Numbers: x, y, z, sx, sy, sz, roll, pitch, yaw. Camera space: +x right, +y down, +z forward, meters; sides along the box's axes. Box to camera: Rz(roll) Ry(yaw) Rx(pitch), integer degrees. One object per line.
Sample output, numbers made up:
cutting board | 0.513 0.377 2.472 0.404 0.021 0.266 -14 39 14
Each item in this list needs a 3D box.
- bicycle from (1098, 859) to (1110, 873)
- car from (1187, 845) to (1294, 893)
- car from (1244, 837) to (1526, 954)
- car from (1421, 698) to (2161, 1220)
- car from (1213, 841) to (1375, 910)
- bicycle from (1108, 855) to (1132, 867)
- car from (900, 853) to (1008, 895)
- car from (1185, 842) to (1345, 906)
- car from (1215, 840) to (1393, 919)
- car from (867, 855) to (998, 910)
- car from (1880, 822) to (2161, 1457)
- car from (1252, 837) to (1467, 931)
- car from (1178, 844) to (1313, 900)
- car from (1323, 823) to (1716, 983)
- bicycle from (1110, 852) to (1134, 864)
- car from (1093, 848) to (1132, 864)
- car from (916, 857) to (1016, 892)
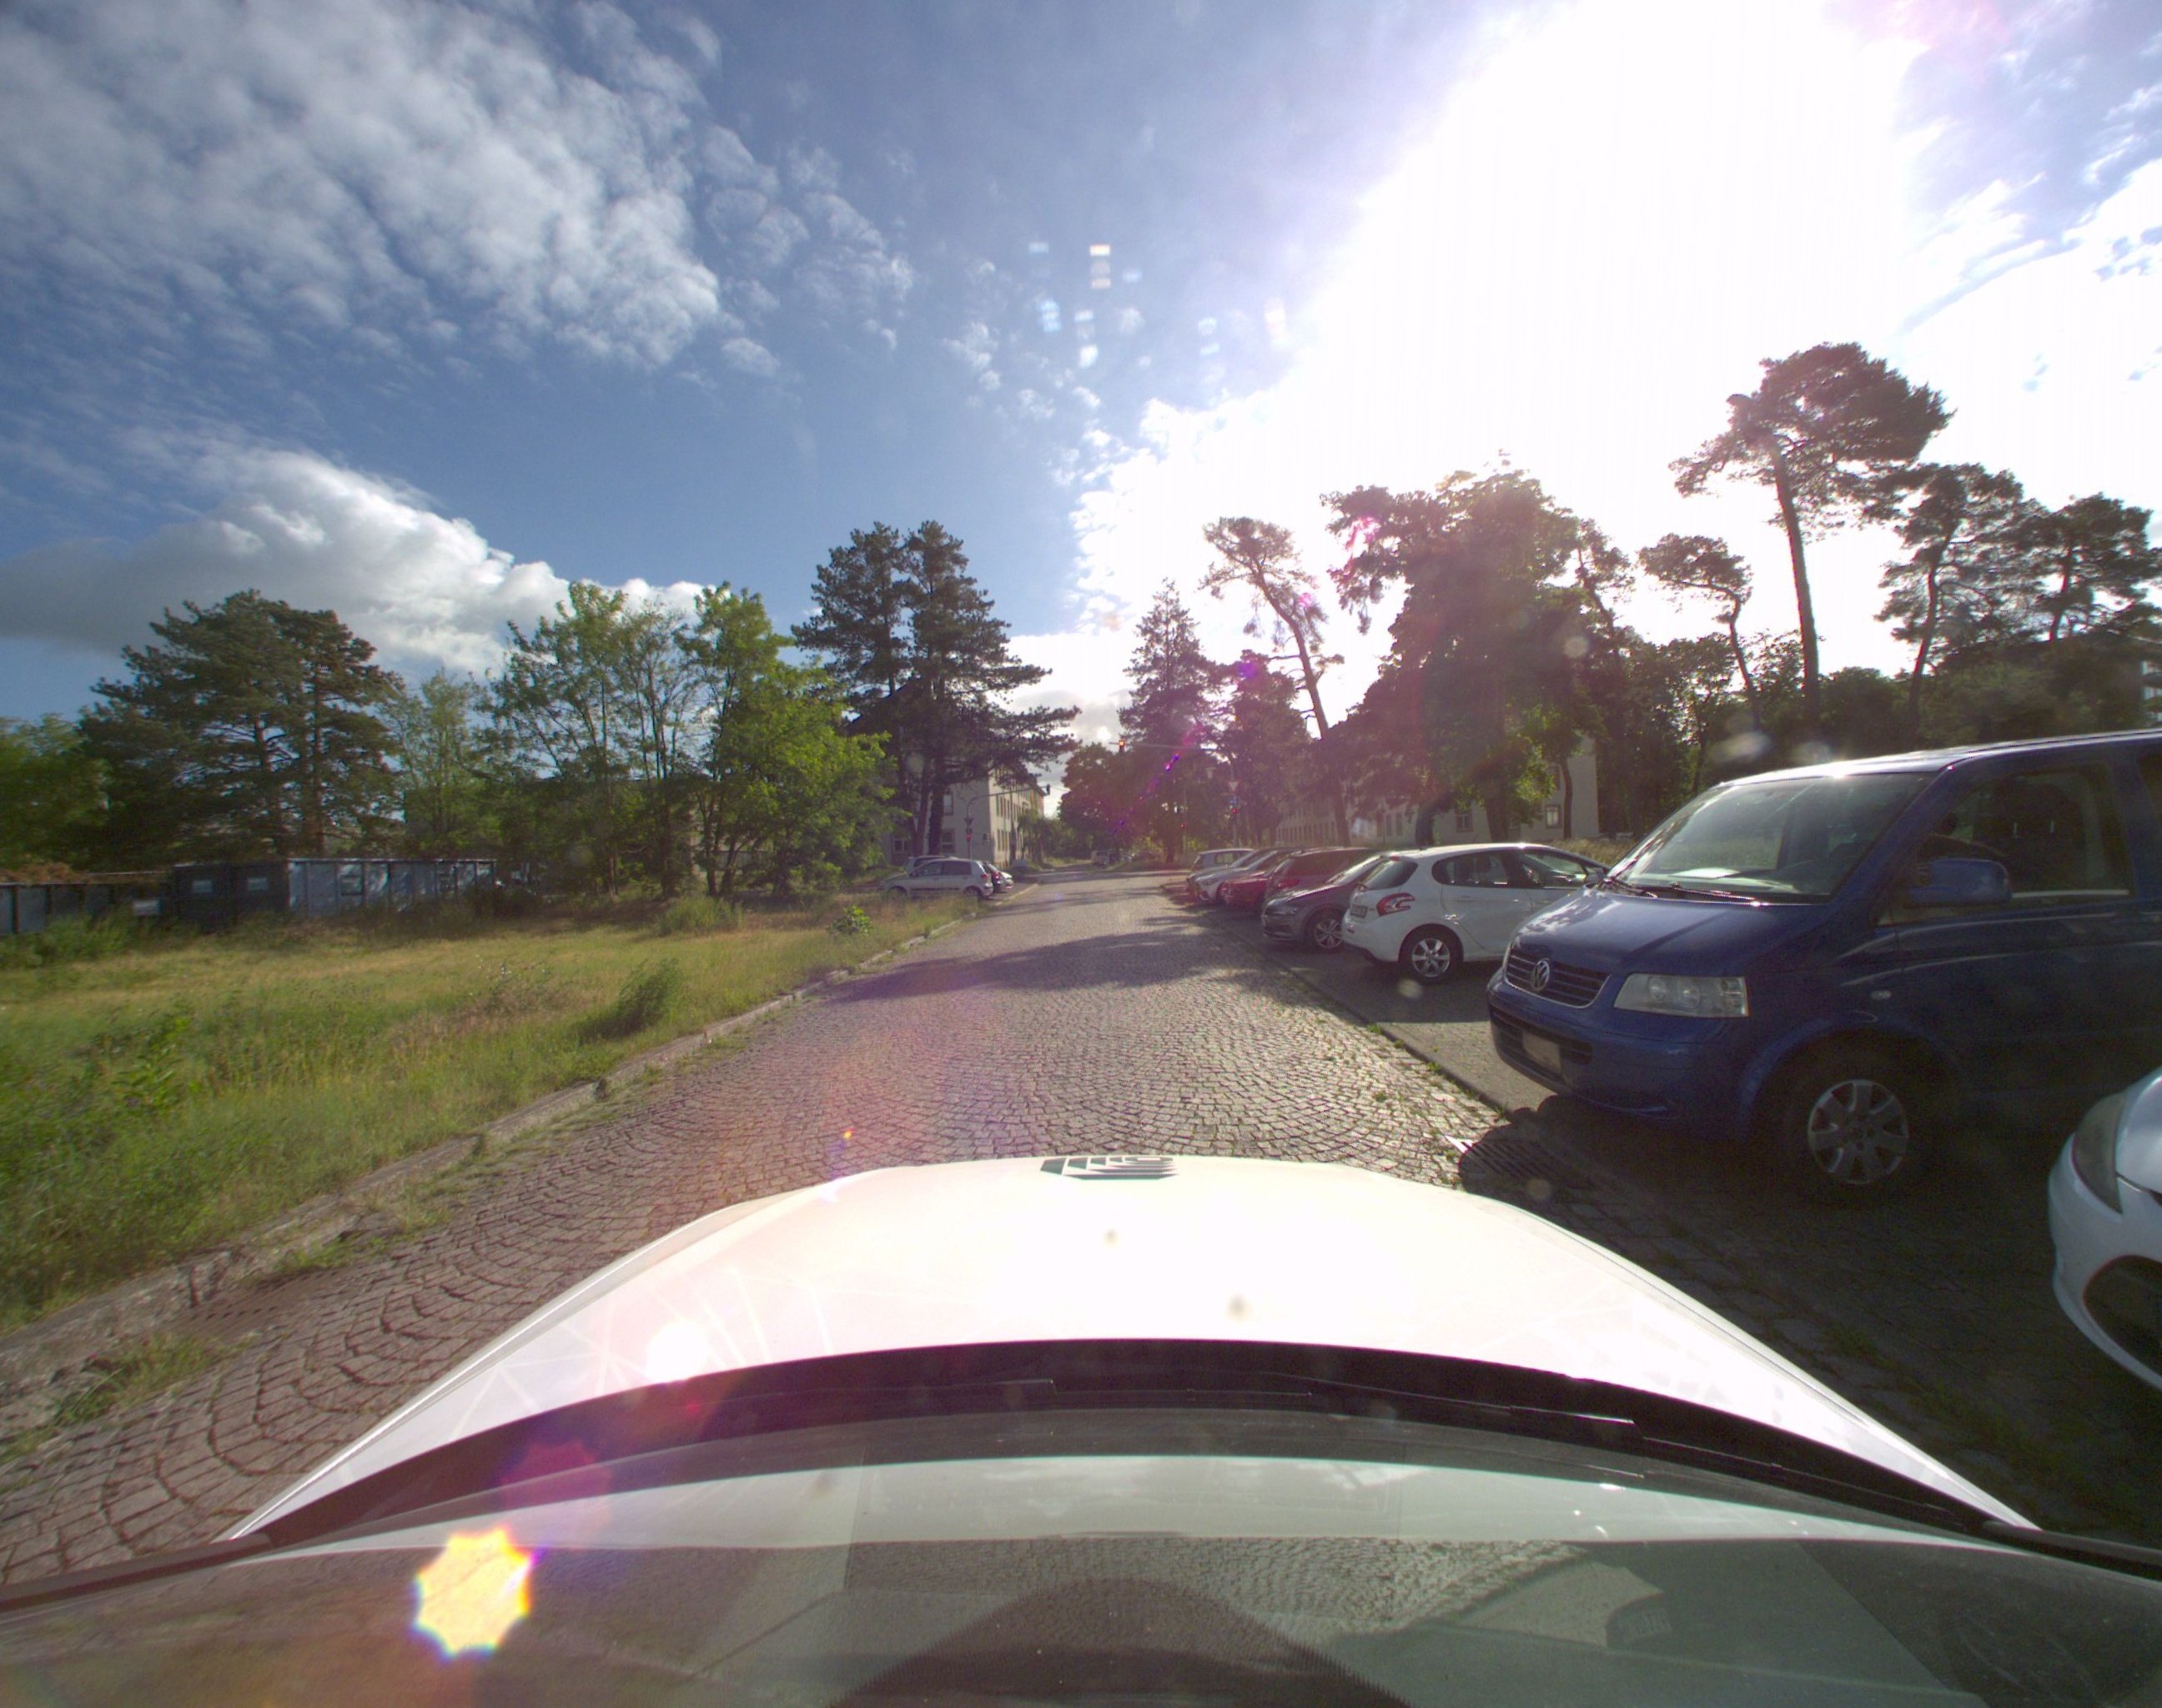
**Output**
bicycle | 2.097 1.074 73.676 0.803 1.169 2.177 -4 0 -4
car | 5.443 0.495 28.067 3.333 1.482 1.645 -3 0 0
car | 4.531 0.593 12.513 3.663 1.467 1.645 -3 0 0
car | 4.622 0.355 4.394 4.664 2.013 2.082 -3 0 -2
car | 5.274 0.515 20.472 3.591 1.529 1.645 -3 0 0
bicycle | 3.672 0.637 77.112 2.172 1.100 0.804 -2 0 -9
car | -5.064 0.779 32.860 3.973 1.601 2.000 1 0 1
car | 5.046 0.521 22.659 4.024 1.529 1.644 -3 0 -3
car | 4.867 0.536 18.120 3.467 1.529 1.645 -3 0 0
car | -4.924 0.925 27.465 3.976 1.600 1.999 -3 0 -2
car | 4.390 0.593 1.766 3.708 1.488 1.645 -3 0 -1
car | 5.174 0.530 15.422 3.467 1.529 1.645 -3 0 0
car | 5.071 0.538 25.431 3.823 1.529 1.645 -3 0 0
car | 4.966 0.531 9.616 3.680 1.465 1.646 -4 0 2
bicycle | 3.967 0.415 78.246 2.172 1.100 0.804 -2 0 -9
car | 3.632 0.237 94.594 4.465 1.728 2.000 -2 0 0
car | -4.925 0.871 35.259 3.973 1.453 2.000 0 0 0
